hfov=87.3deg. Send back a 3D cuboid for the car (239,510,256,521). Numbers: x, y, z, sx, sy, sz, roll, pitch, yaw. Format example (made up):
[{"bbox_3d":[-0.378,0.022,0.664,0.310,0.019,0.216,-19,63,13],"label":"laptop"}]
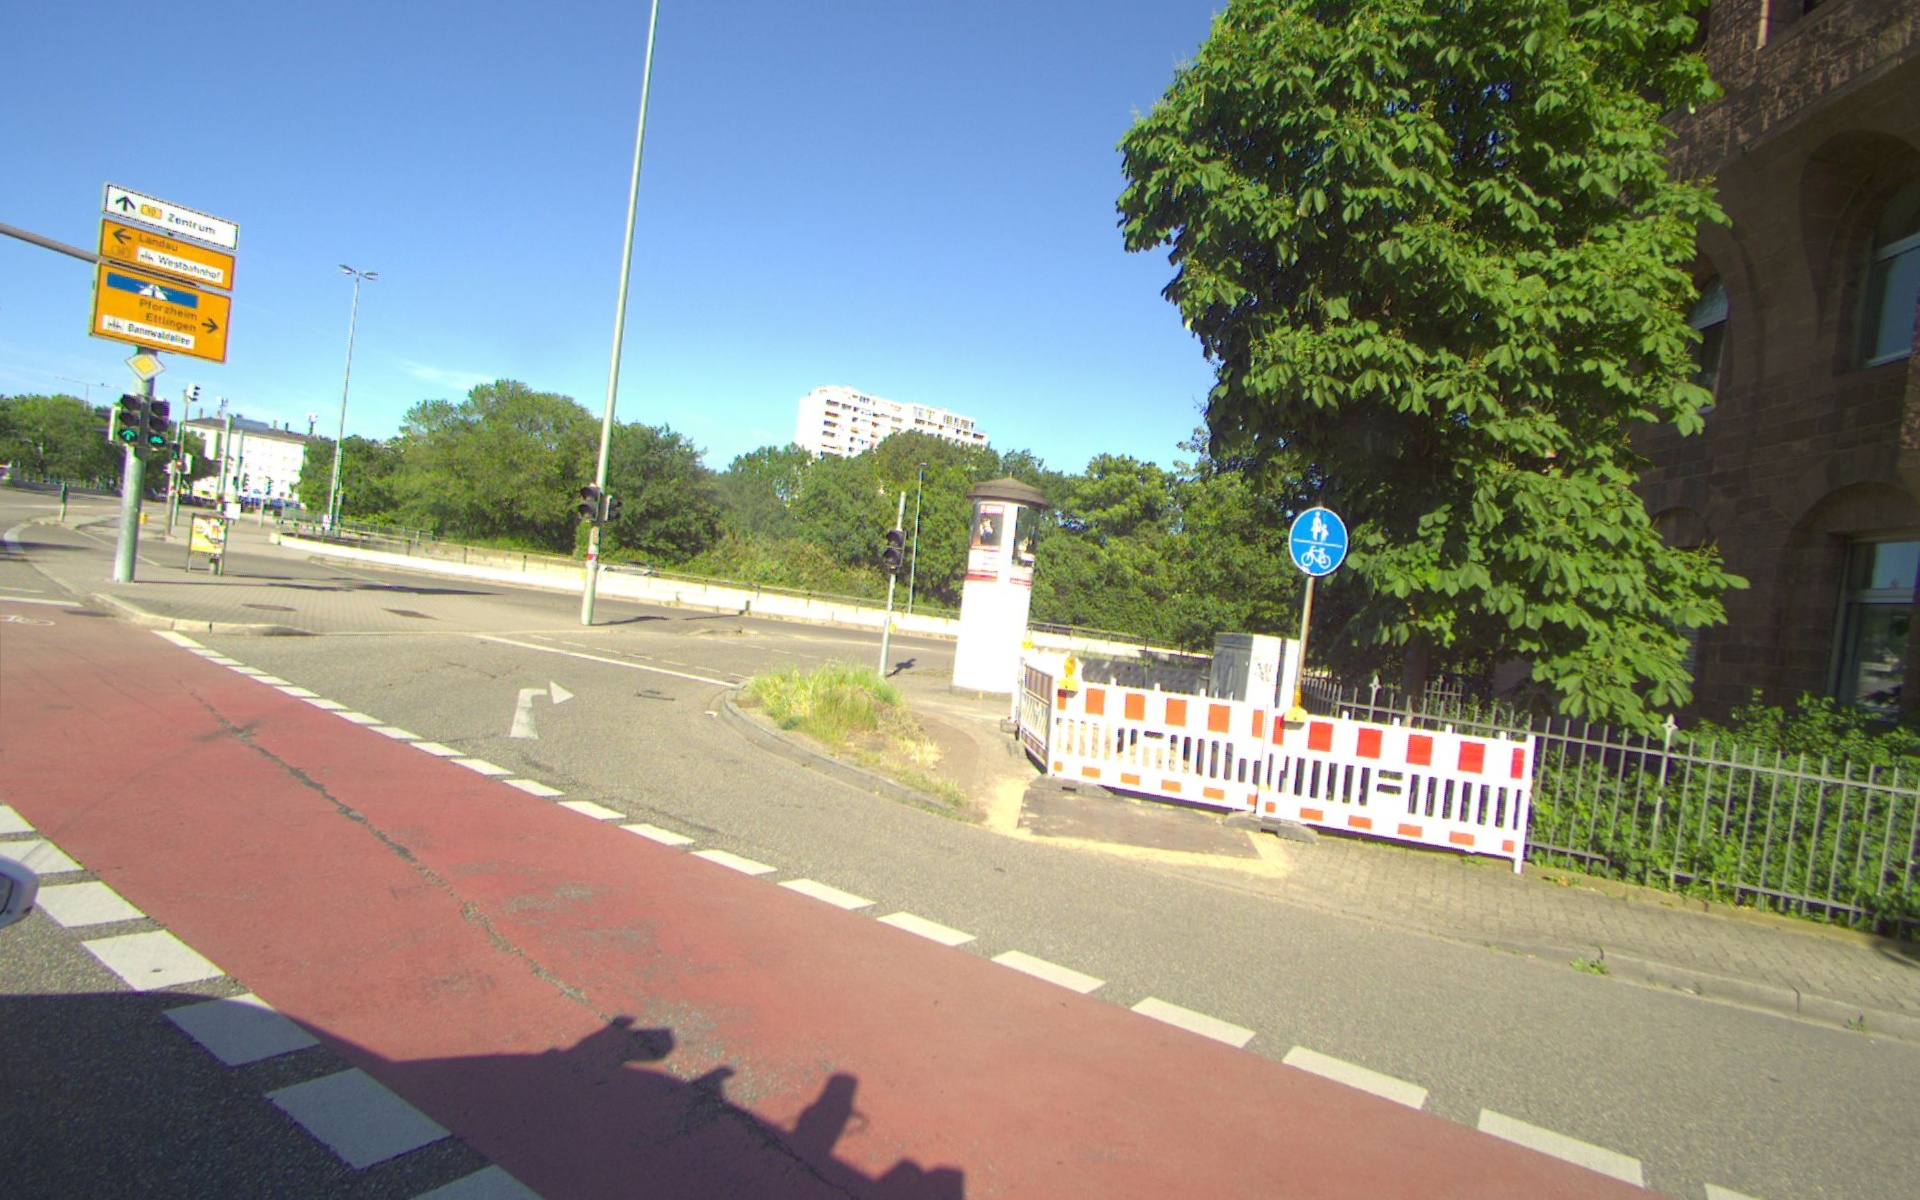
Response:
[{"bbox_3d":[-123.914,-14.660,174.989,1.931,1.547,4.064,7,0,-30],"label":"car"}]

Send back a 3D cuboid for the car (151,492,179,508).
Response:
[{"bbox_3d":[-95.723,-12.034,121.189,1.931,1.547,4.064,7,0,-31],"label":"car"}]

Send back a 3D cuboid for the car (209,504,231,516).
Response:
[{"bbox_3d":[-122.811,-14.953,166.997,1.925,1.547,4.075,7,0,-22],"label":"car"}]

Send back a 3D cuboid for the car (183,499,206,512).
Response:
[{"bbox_3d":[-110.389,-13.581,145.113,1.931,1.547,4.064,7,0,-30],"label":"car"}]

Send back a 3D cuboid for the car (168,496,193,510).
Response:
[{"bbox_3d":[-103.559,-12.895,133.690,1.931,1.547,4.064,7,0,-30],"label":"car"}]

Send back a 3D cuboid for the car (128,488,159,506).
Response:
[{"bbox_3d":[-88.062,-11.076,108.555,1.931,1.547,4.063,7,0,-31],"label":"car"}]

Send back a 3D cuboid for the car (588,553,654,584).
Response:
[{"bbox_3d":[-23.667,-2.223,70.195,4.187,1.571,1.852,8,1,-21],"label":"car"}]

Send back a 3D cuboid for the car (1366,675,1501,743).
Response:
[{"bbox_3d":[15.595,3.531,33.144,3.717,1.581,1.997,8,1,30],"label":"car"}]
